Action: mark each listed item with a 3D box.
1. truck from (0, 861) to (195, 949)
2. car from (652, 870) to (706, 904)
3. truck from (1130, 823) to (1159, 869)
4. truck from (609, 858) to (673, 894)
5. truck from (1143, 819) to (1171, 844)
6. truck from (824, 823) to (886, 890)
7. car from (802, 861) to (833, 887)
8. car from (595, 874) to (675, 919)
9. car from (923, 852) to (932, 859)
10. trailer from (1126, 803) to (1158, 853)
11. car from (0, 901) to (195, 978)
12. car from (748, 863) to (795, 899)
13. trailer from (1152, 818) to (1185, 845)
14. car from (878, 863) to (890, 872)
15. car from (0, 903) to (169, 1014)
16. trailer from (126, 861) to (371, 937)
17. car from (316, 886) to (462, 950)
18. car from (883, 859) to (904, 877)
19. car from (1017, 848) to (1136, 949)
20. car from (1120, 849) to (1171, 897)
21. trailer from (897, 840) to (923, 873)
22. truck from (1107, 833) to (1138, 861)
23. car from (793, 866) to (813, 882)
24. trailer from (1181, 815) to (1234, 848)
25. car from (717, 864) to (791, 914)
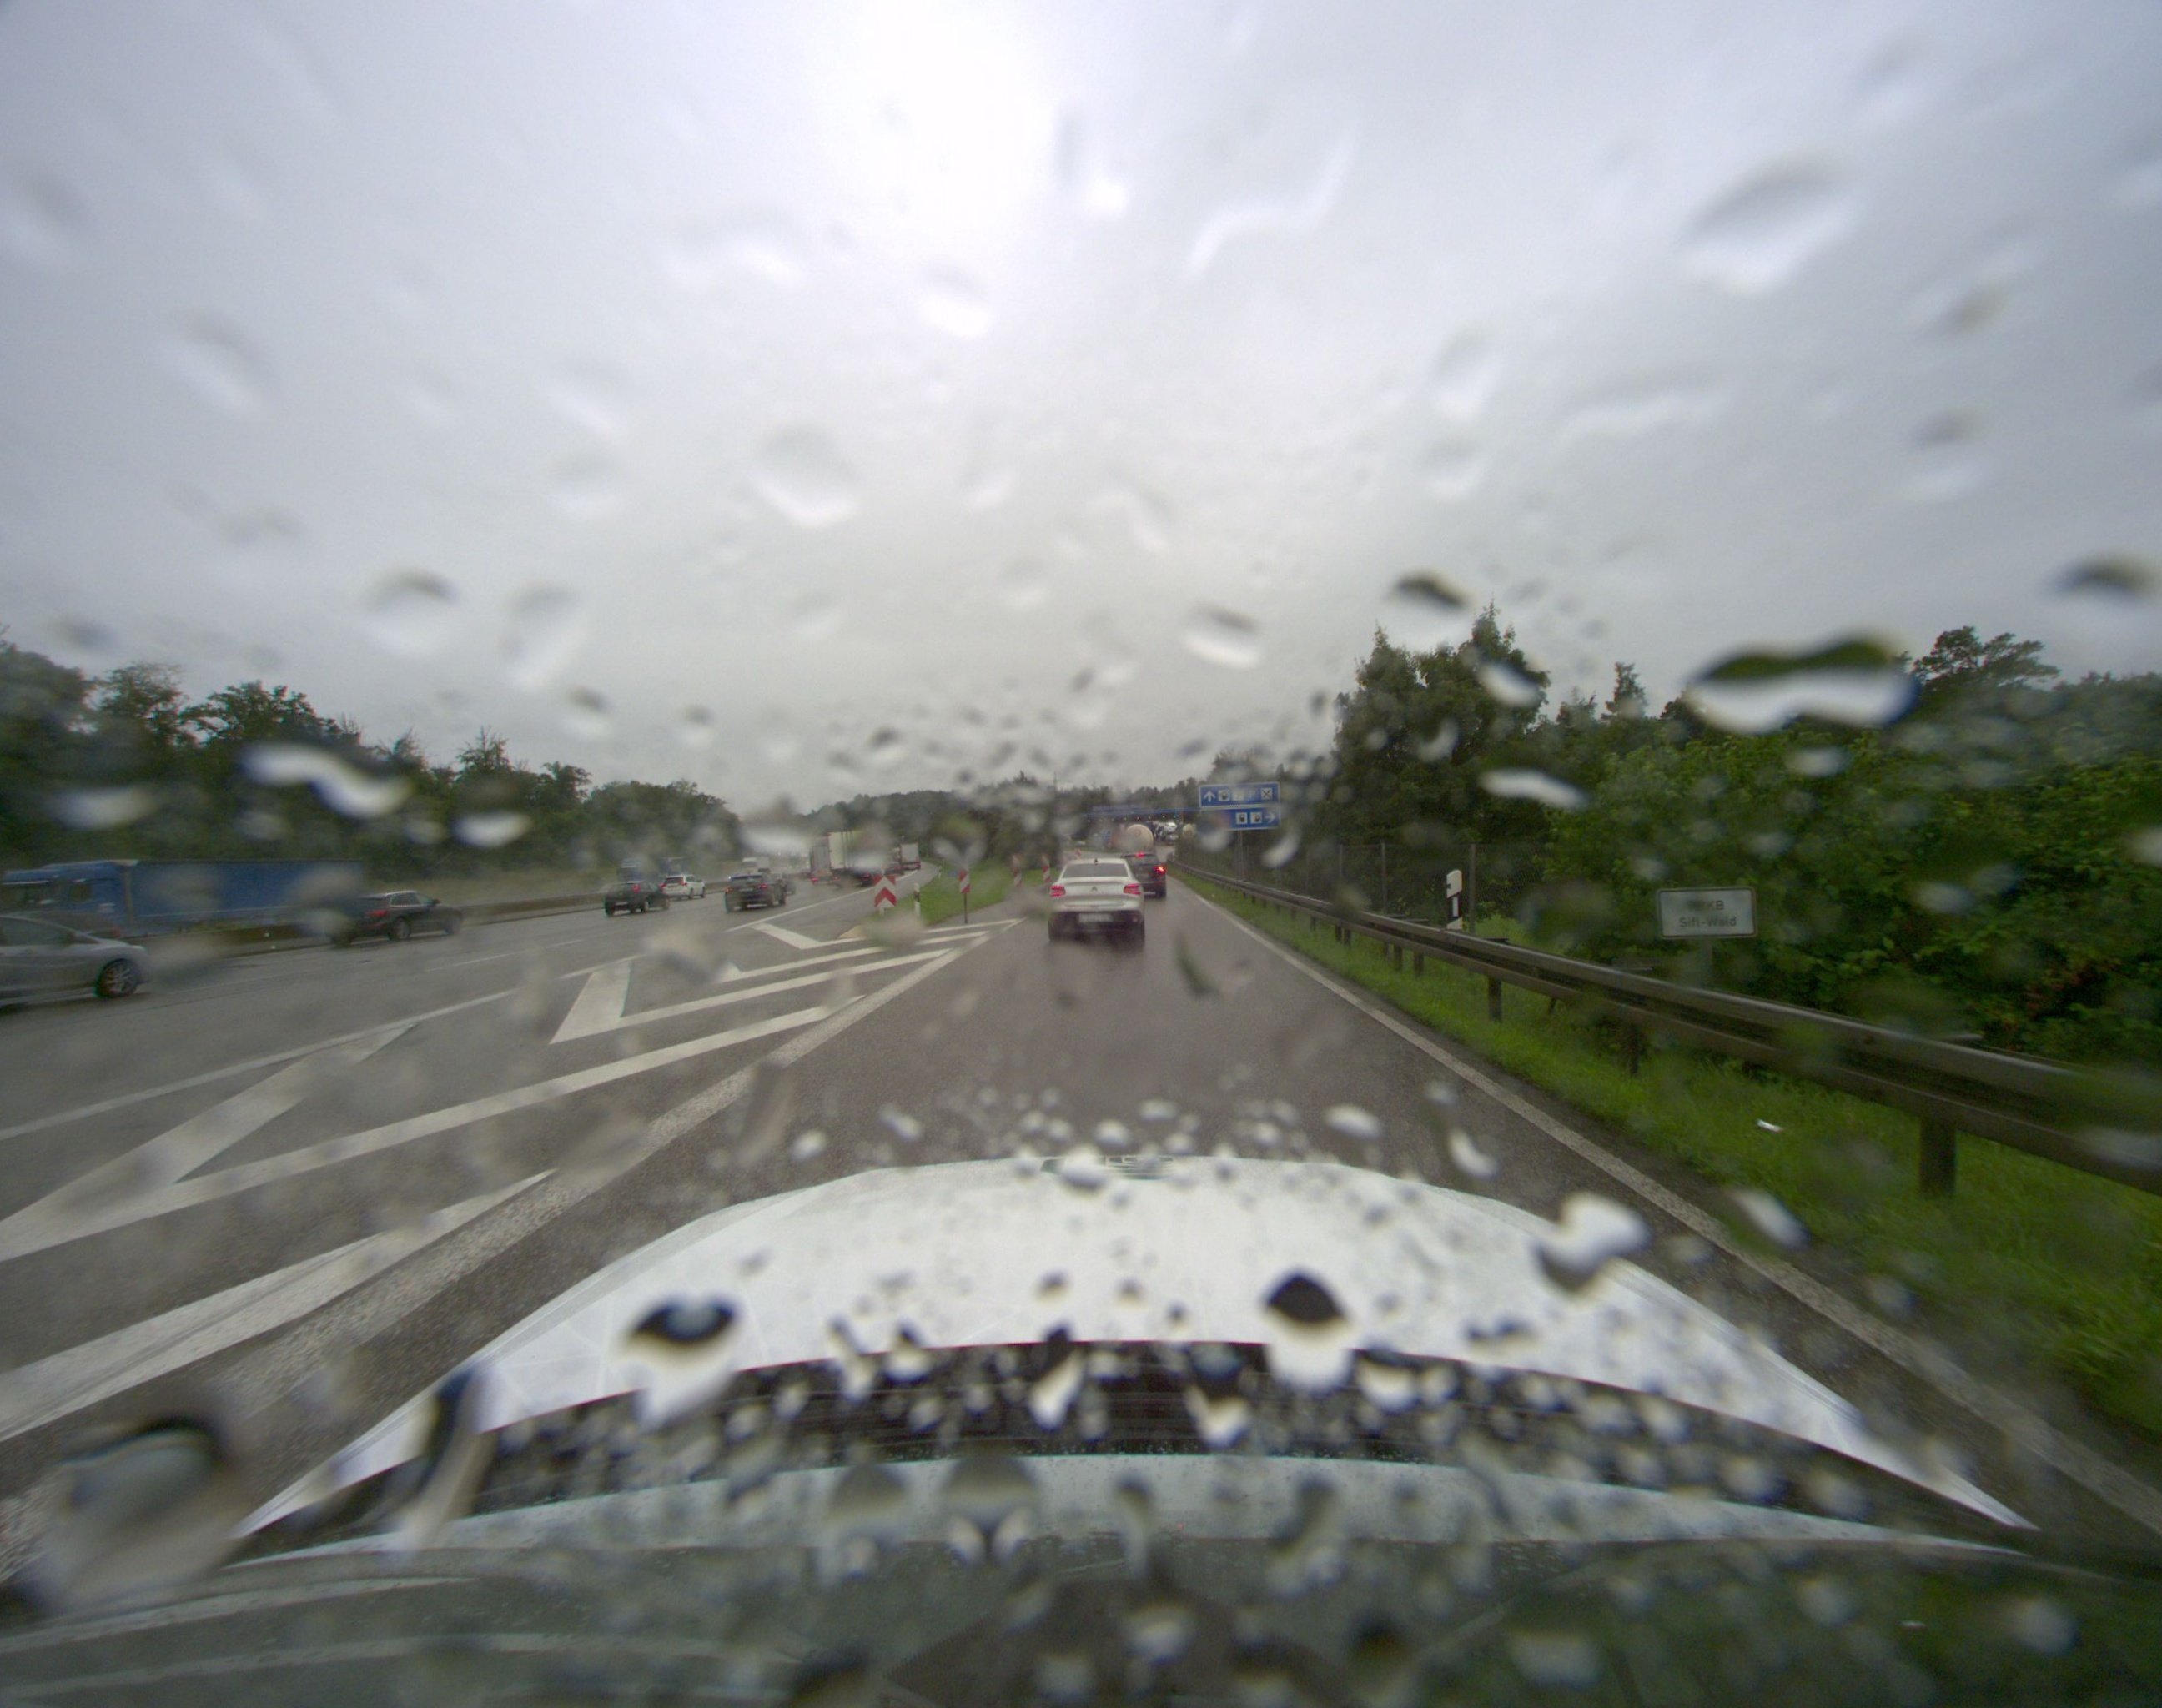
[{"bbox_3d":[-42.782,2.085,35.358,2.760,3.415,5.694,-3,0,-8],"label":"truck"},{"bbox_3d":[-27.015,2.184,54.880,1.993,2.013,3.987,-4,0,-9],"label":"car"},{"bbox_3d":[5.219,-0.704,66.101,2.042,3.530,4.755,-3,1,6],"label":"truck"},{"bbox_3d":[-52.410,2.616,97.441,3.059,3.980,10.529,1,-1,-8],"label":"truck"},{"bbox_3d":[13.574,-4.000,146.502,3.229,4.187,8.428,-3,2,-6],"label":"truck"},{"bbox_3d":[-16.393,0.271,59.855,2.849,4.292,11.803,-3,0,-9],"label":"truck"},{"bbox_3d":[-22.498,1.714,69.754,1.996,2.013,3.983,-4,0,-12],"label":"car"},{"bbox_3d":[-20.387,1.893,37.397,1.775,1.736,4.088,-4,0,-8],"label":"car"},{"bbox_3d":[-43.097,0.366,228.608,1.998,2.014,3.978,0,-1,-16],"label":"car"},{"bbox_3d":[4.533,-1.902,59.670,1.971,3.224,10.337,-3,1,5],"label":"trailer"},{"bbox_3d":[-27.127,2.252,22.030,1.992,1.684,4.199,-4,-1,-8],"label":"car"},{"bbox_3d":[-18.614,1.585,49.104,1.789,1.971,4.319,-3,0,-10],"label":"car"},{"bbox_3d":[14.537,-3.743,136.543,3.211,4.188,11.508,-3,2,-5],"label":"trailer"},{"bbox_3d":[-36.772,2.539,152.087,1.994,1.748,3.986,0,-1,-10],"label":"car"},{"bbox_3d":[-17.186,1.699,12.438,1.786,1.526,4.326,-4,0,-6],"label":"car"},{"bbox_3d":[-43.972,2.165,43.851,2.731,3.417,11.366,-3,0,-8],"label":"trailer"},{"bbox_3d":[-23.180,2.075,27.502,1.775,1.736,4.087,-4,0,-9],"label":"car"},{"bbox_3d":[-20.637,1.509,89.576,1.993,1.815,3.987,0,0,-10],"label":"car"},{"bbox_3d":[-0.015,0.748,15.765,1.986,1.679,4.002,-1,0,2],"label":"car"},{"bbox_3d":[2.370,0.682,30.463,1.735,1.667,4.003,-1,0,3],"label":"car"},{"bbox_3d":[-26.636,0.465,126.855,3.551,4.611,12.069,-4,0,-12],"label":"trailer"},{"bbox_3d":[6.252,-1.162,124.785,2.369,3.873,12.422,-4,2,-8],"label":"truck"},{"bbox_3d":[-33.634,2.388,98.736,1.699,1.786,3.771,-4,0,-11],"label":"car"},{"bbox_3d":[14.983,-2.712,95.789,2.110,3.440,10.320,-3,2,32],"label":"trailer"},{"bbox_3d":[-12.989,1.343,32.584,1.775,1.736,3.835,-4,0,-9],"label":"car"}]
